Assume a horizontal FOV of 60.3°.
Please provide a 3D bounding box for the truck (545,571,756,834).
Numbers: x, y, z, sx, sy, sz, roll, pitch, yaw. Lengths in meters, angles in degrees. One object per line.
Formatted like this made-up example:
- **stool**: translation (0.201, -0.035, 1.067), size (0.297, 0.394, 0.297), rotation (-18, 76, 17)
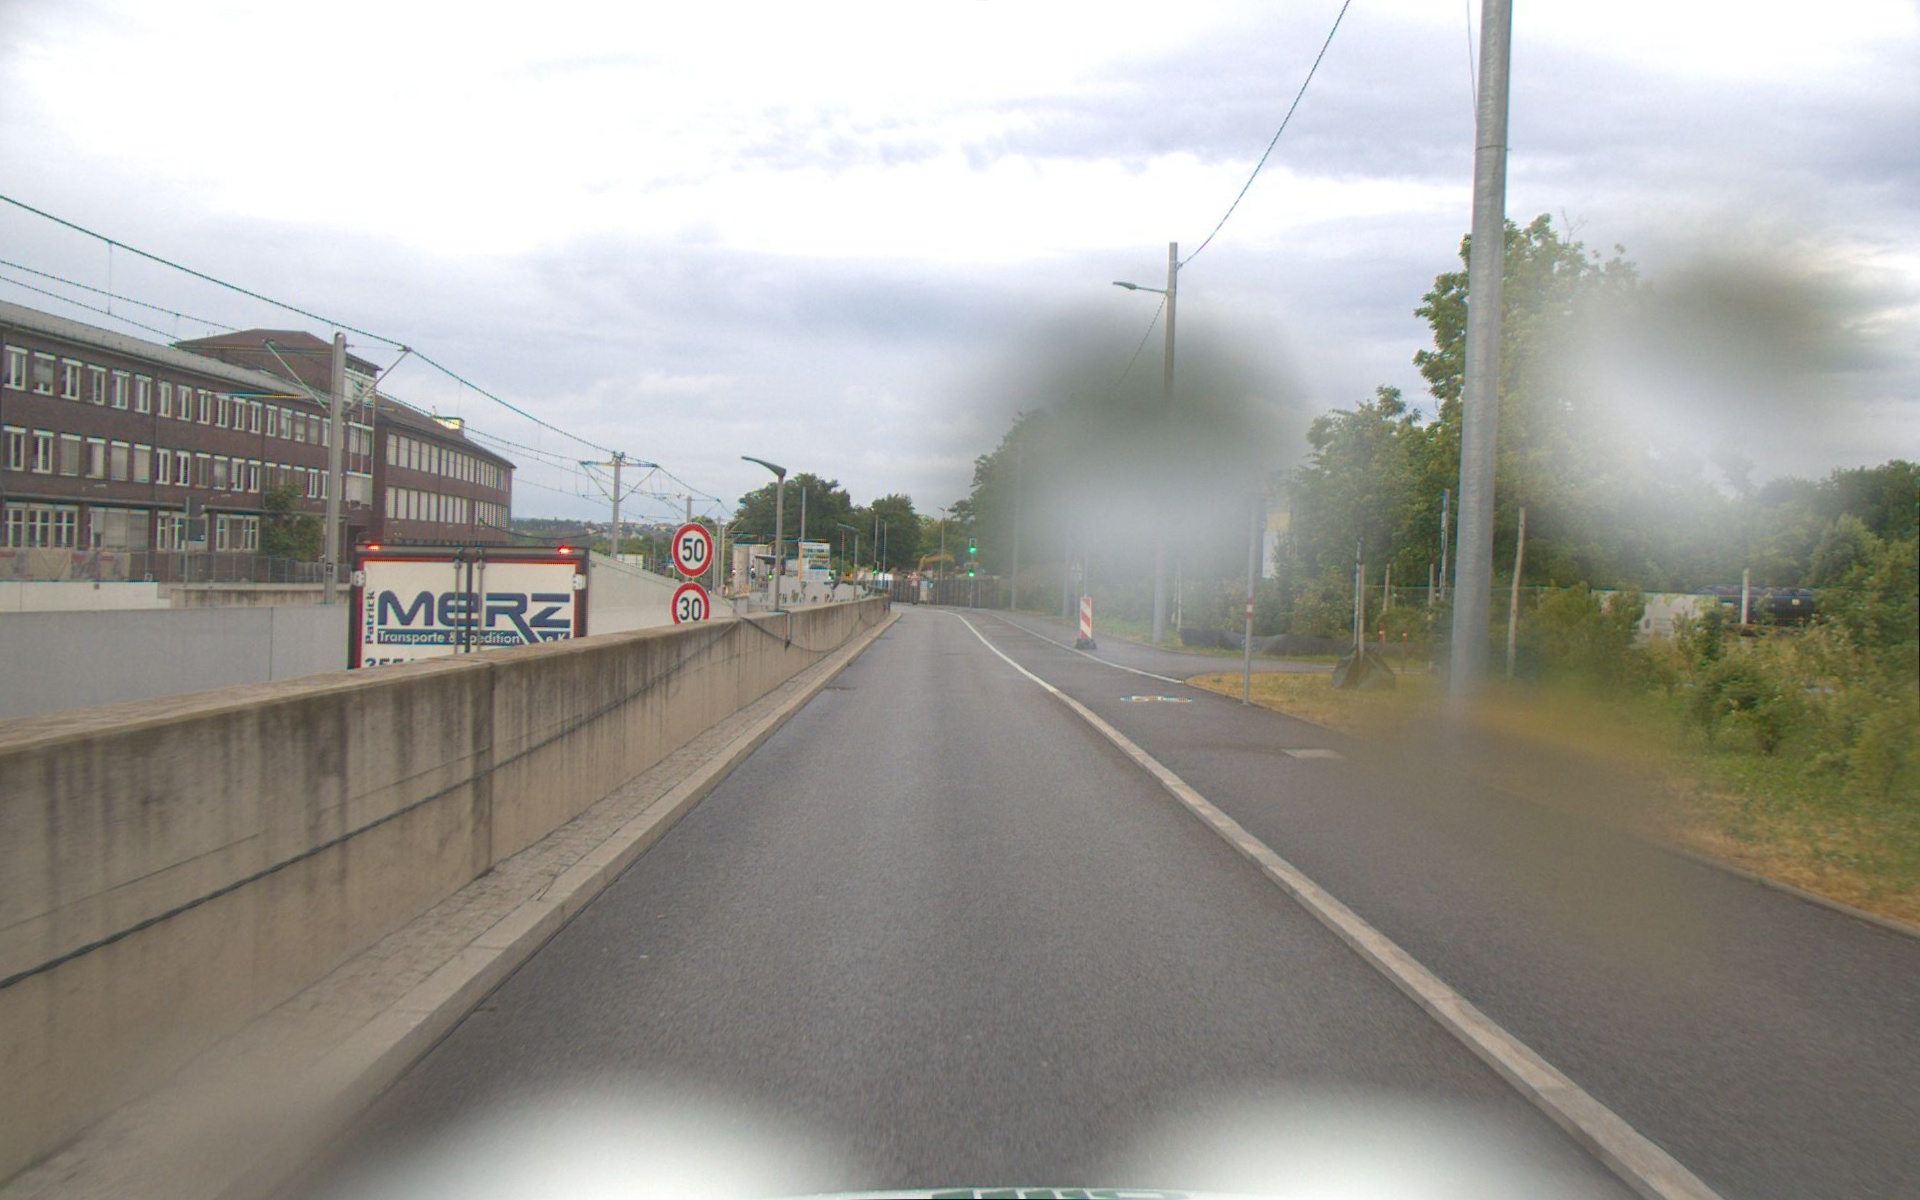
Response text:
- **truck**: translation (-5.436, 1.650, 30.120), size (2.700, 4.278, 6.305), rotation (0, 0, -1)

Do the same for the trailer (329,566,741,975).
- **trailer**: translation (-5.382, 1.757, 24.135), size (2.706, 4.327, 13.182), rotation (0, 0, -1)

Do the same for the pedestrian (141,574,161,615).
- **pedestrian**: translation (-40.354, -0.286, 82.523), size (0.657, 2.049, 0.652), rotation (1, 0, -3)
